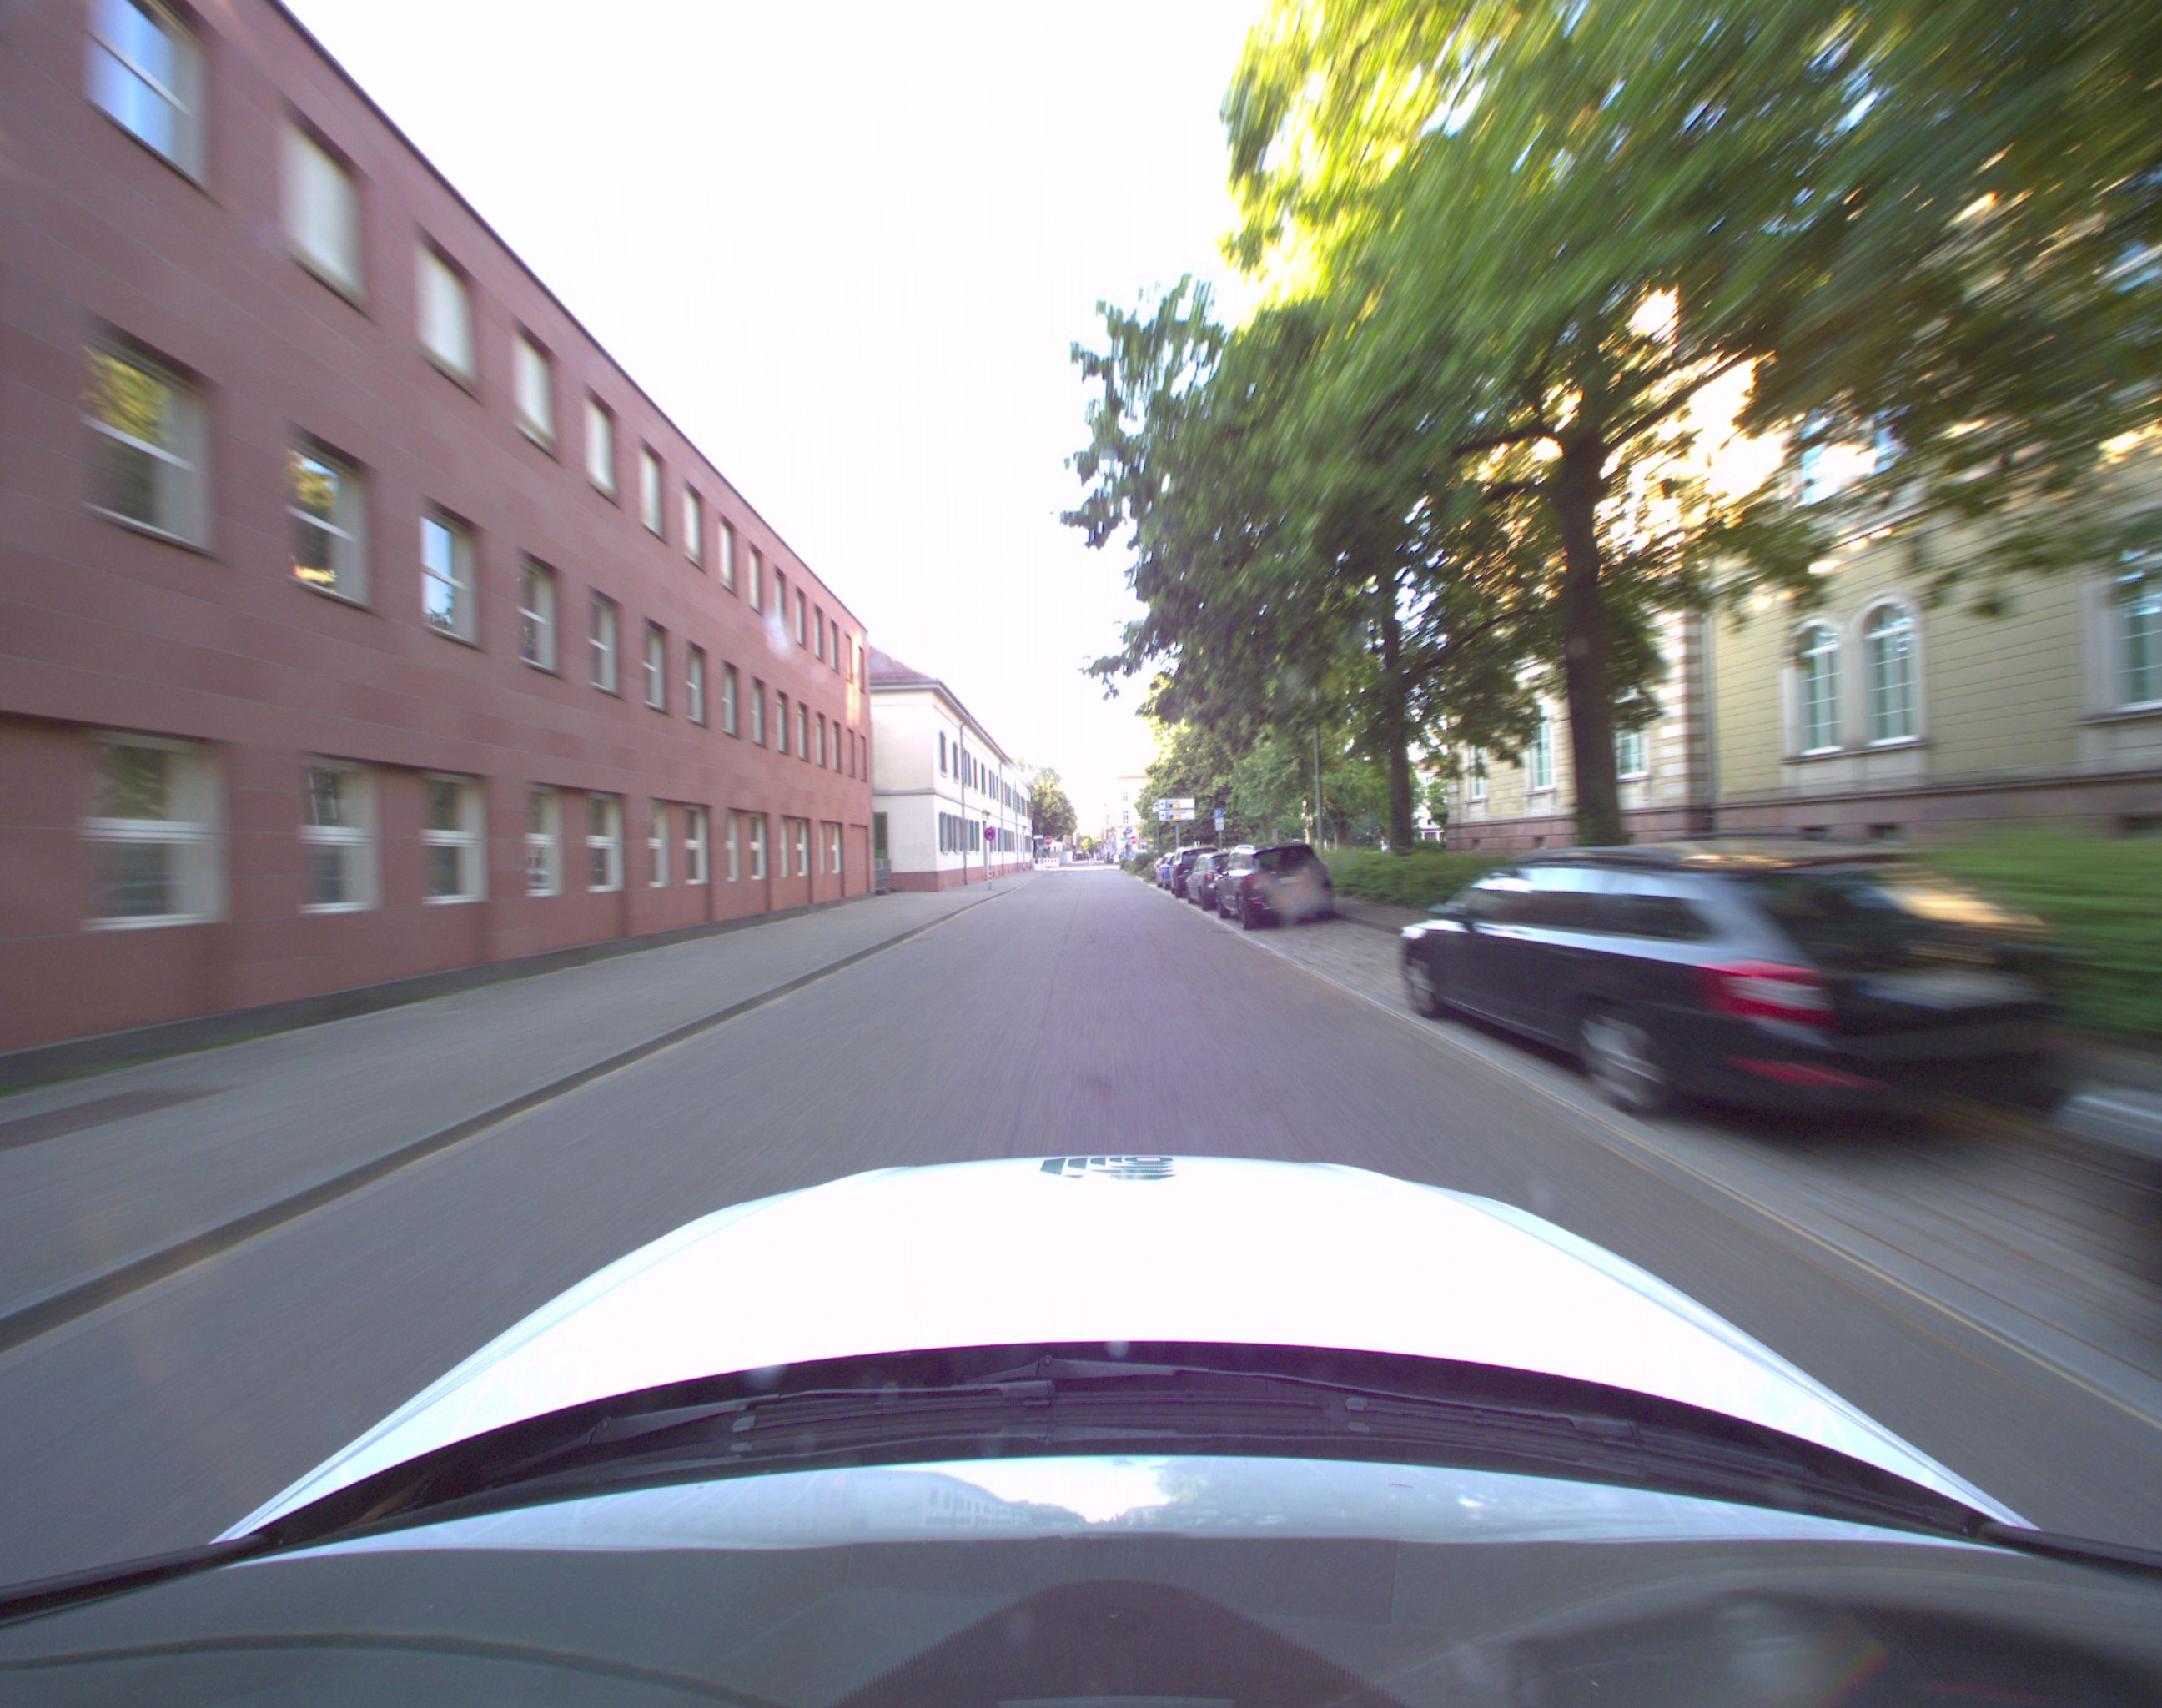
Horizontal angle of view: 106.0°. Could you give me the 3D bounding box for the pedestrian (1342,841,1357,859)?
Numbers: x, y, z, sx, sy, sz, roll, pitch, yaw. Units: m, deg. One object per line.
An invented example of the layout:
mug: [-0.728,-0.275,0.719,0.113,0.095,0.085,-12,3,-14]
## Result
pedestrian: [21.214,-0.322,64.361,0.760,1.347,0.783,-2,0,-16]

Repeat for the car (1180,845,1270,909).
car: [3.849,0.600,22.438,1.718,1.538,4.189,-3,-1,0]

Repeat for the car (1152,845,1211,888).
car: [4.130,0.495,34.211,1.719,1.488,4.608,-6,0,-1]

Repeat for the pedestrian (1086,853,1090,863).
pedestrian: [1.182,0.742,142.349,0.655,1.760,0.745,-2,0,1]

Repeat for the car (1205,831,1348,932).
car: [3.910,0.480,17.100,1.801,1.651,4.418,-6,0,0]

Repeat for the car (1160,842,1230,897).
car: [3.842,0.509,28.076,1.718,1.651,4.712,-3,-1,0]

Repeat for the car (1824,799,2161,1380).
car: [3.666,0.580,0.989,1.717,1.533,4.193,-6,-1,3]

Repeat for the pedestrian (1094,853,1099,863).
pedestrian: [2.669,0.710,140.512,0.655,1.617,0.745,-2,0,1]

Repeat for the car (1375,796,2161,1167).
car: [3.772,0.569,5.757,1.729,1.506,4.521,-3,-1,0]
